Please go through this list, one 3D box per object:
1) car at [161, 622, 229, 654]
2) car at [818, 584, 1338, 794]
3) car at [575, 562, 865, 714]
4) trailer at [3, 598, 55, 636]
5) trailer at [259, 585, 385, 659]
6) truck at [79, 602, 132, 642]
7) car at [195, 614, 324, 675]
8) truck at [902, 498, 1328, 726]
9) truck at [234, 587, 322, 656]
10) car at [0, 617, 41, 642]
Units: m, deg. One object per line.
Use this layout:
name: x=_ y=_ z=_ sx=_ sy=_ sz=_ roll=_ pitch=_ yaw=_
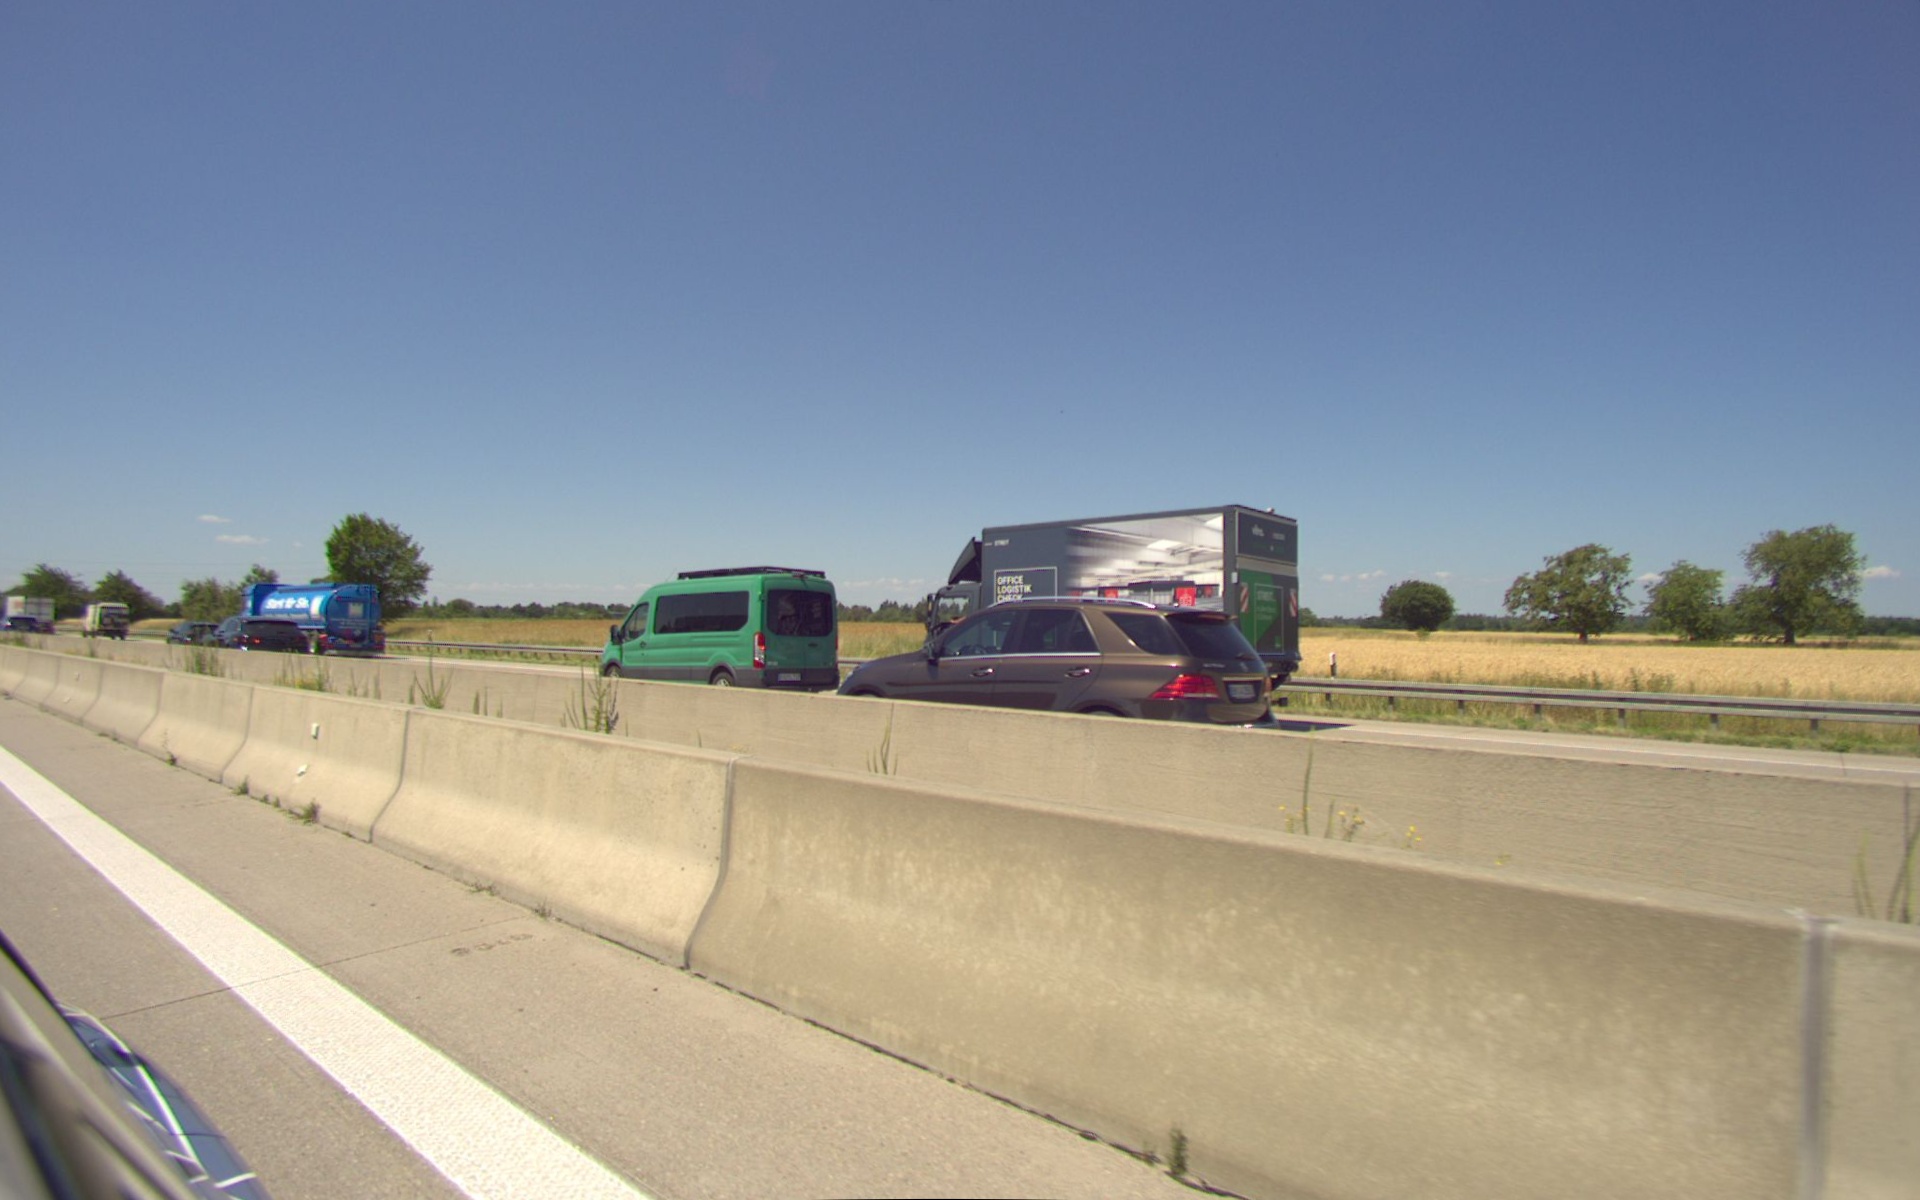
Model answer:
car: x=-36.867 y=1.804 z=48.731 sx=4.705 sy=1.459 sz=1.702 roll=-1 pitch=0 yaw=41
car: x=0.948 y=0.704 z=10.005 sx=4.846 sy=1.588 sz=1.973 roll=-1 pitch=0 yaw=41
car: x=-4.935 y=0.770 z=20.068 sx=6.460 sy=2.570 sz=2.127 roll=-1 pitch=-5 yaw=41
trailer: x=-102.605 y=1.866 z=111.474 sx=12.504 sy=3.938 sz=2.878 roll=-1 pitch=0 yaw=41
trailer: x=-30.720 y=1.032 z=48.545 sx=9.247 sy=3.297 sz=2.489 roll=-1 pitch=0 yaw=41
truck: x=-70.793 y=1.803 z=83.820 sx=6.974 sy=3.107 sz=2.298 roll=-1 pitch=0 yaw=41
car: x=-20.229 y=1.220 z=29.145 sx=4.886 sy=1.569 sz=1.920 roll=-1 pitch=0 yaw=41
truck: x=2.609 y=0.288 z=19.213 sx=7.880 sy=3.539 sz=2.528 roll=-1 pitch=-3 yaw=41
truck: x=-35.521 y=1.110 z=52.676 sx=5.260 sy=3.393 sz=2.458 roll=-1 pitch=0 yaw=40
car: x=-55.788 y=1.715 z=59.658 sx=4.449 sy=1.358 sz=1.761 roll=-1 pitch=1 yaw=40
